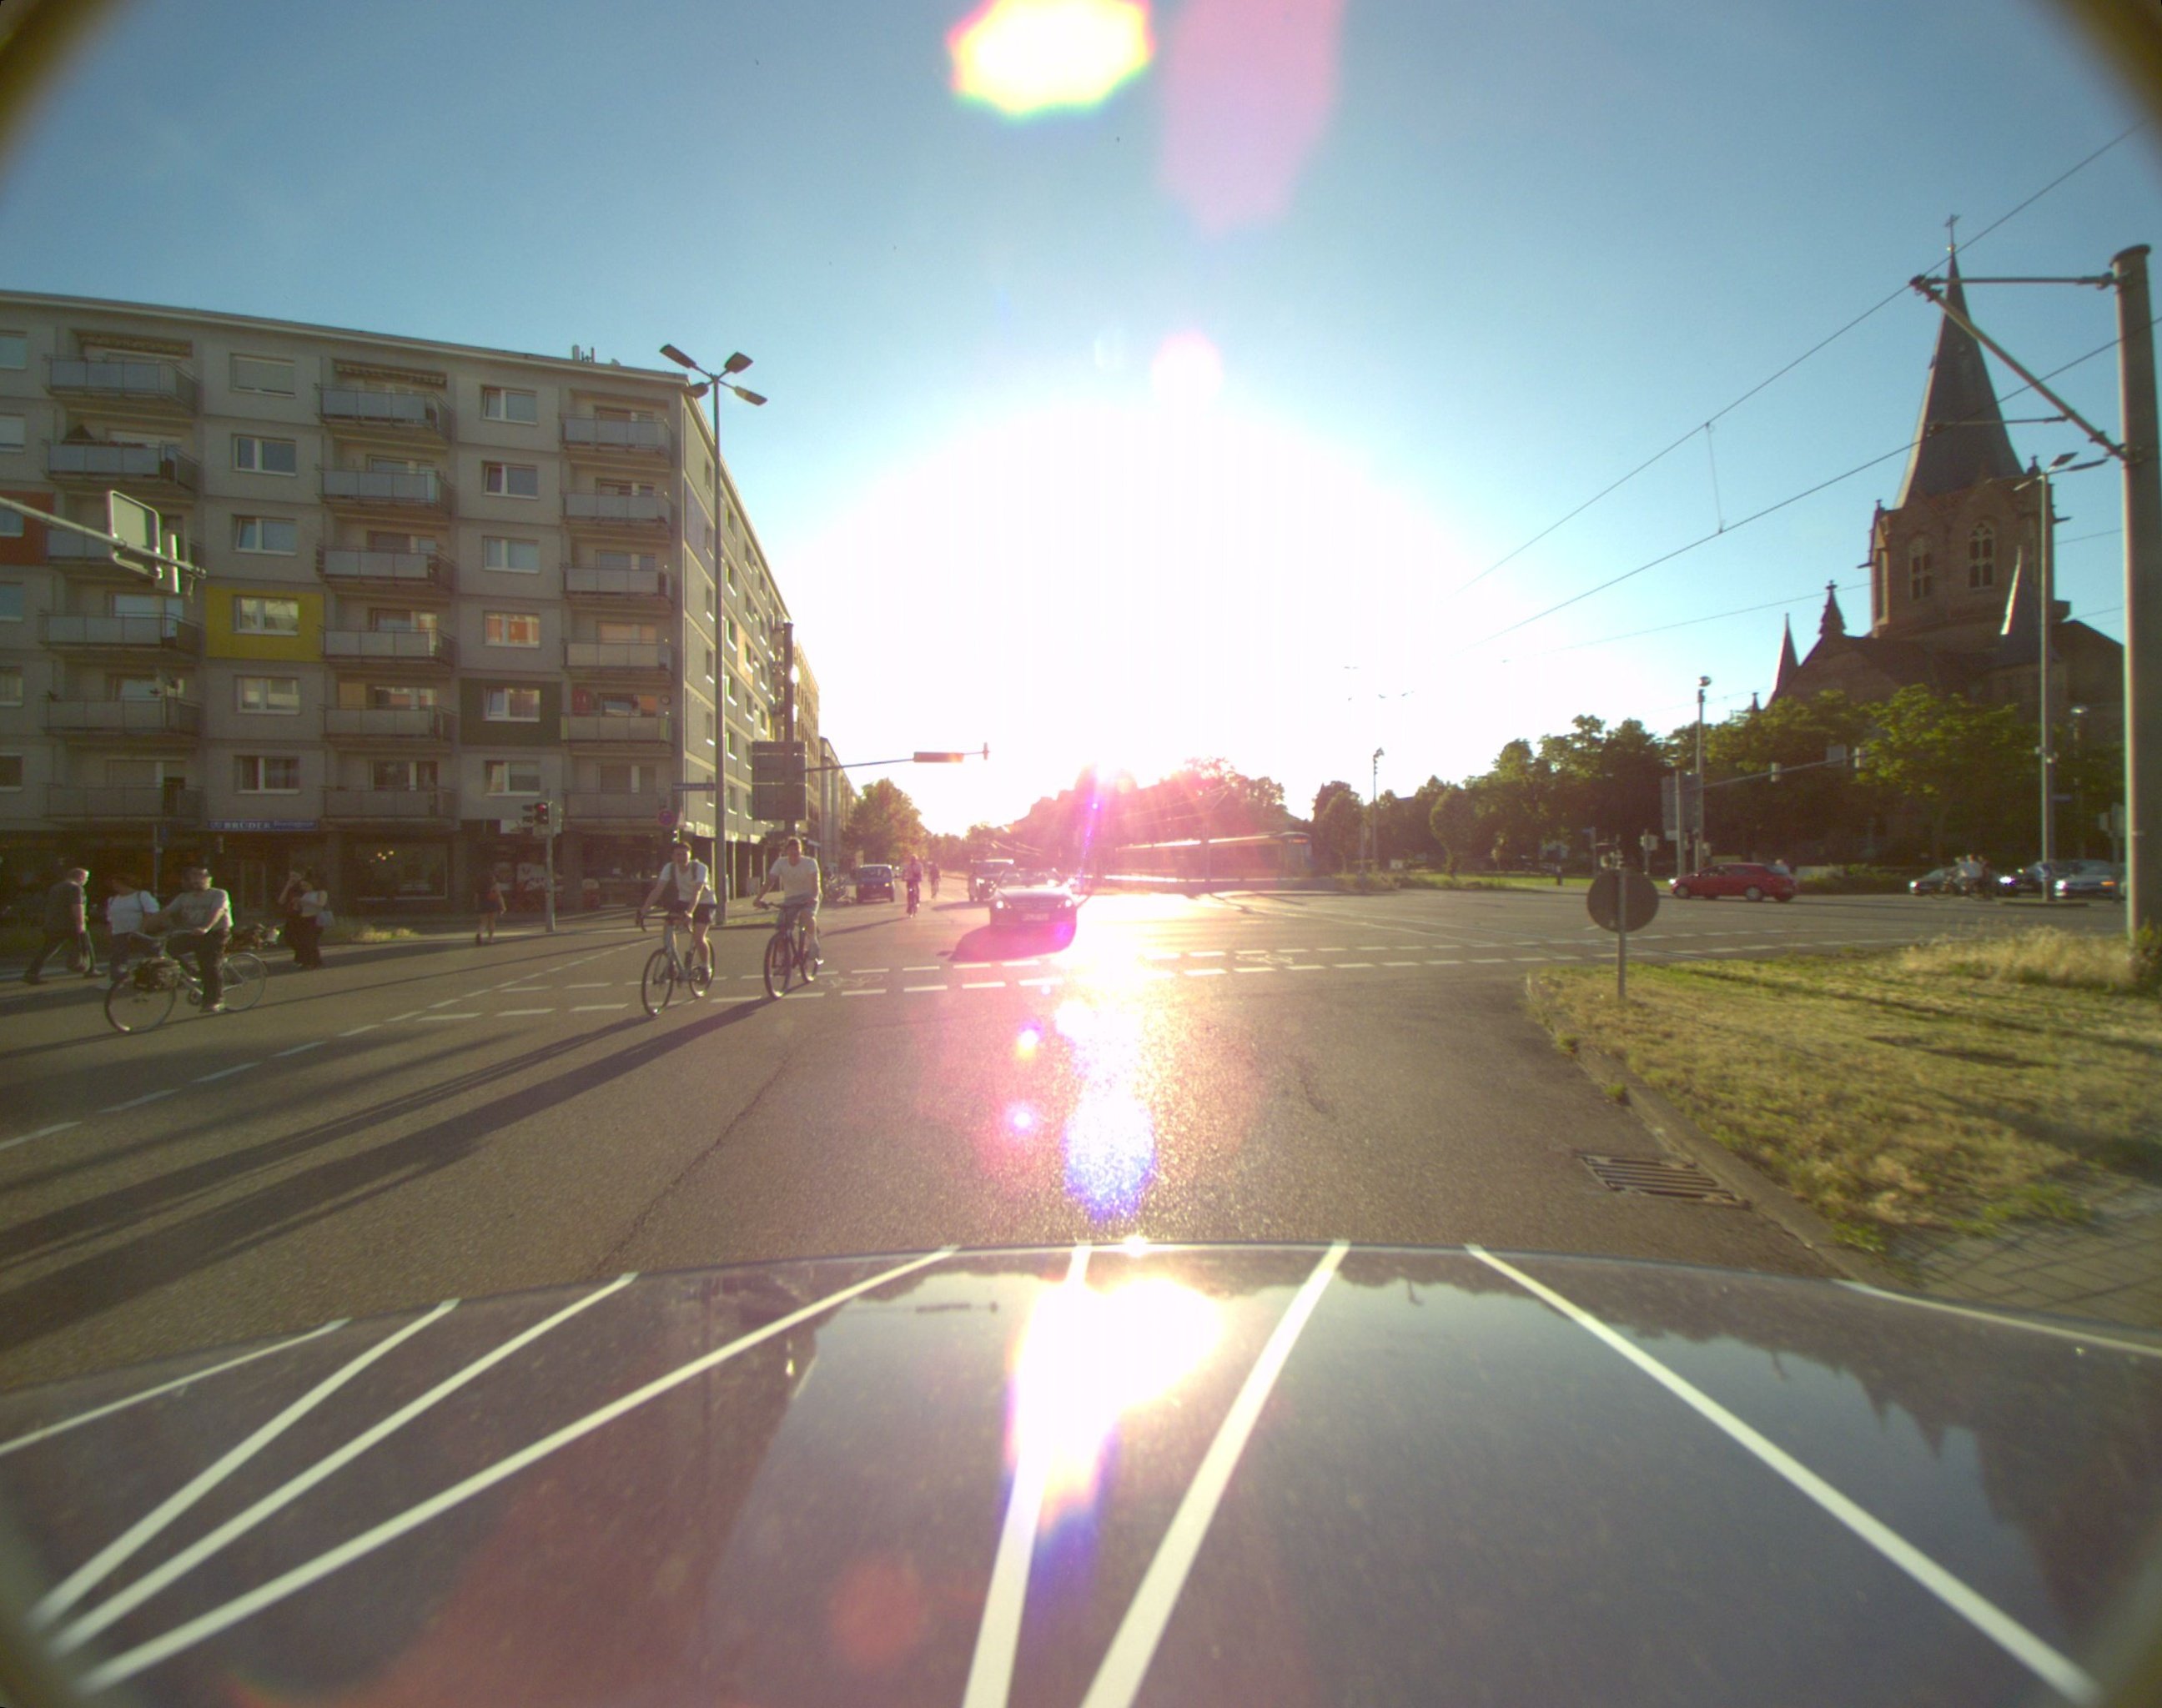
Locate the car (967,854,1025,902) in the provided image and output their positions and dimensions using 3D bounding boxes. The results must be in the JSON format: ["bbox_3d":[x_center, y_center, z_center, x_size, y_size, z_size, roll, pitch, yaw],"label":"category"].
[{"bbox_3d":[-3.965,1.034,34.723,1.922,1.978,4.941,-1,0,-14],"label":"car"}]

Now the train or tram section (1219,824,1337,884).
[{"bbox_3d":[12.641,0.057,50.224,2.783,3.515,10.558,-1,0,-14],"label":"train or tram section"}]

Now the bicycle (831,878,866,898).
[{"bbox_3d":[-13.467,1.991,44.018,1.875,1.119,0.567,2,-1,-17],"label":"bicycle"}]

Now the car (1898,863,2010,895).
[{"bbox_3d":[42.057,1.183,36.629,4.002,1.411,1.900,-1,0,-13],"label":"car"}]

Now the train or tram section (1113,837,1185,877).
[{"bbox_3d":[6.388,0.318,74.617,2.783,3.515,13.236,-1,0,-14],"label":"train or tram section"}]

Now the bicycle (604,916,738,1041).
[{"bbox_3d":[-4.327,1.261,8.173,0.577,1.022,1.856,-2,0,-6],"label":"bicycle"}]

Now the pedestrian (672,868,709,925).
[{"bbox_3d":[-11.820,1.267,23.051,0.664,1.694,1.071,-1,0,-9],"label":"pedestrian"}]

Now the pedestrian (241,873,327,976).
[{"bbox_3d":[-13.420,1.163,12.822,0.684,1.652,0.746,-1,0,-12],"label":"pedestrian"}]

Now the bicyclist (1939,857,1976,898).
[{"bbox_3d":[34.320,0.905,29.760,0.522,1.574,0.819,-2,0,-27],"label":"bicyclist"}]

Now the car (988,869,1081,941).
[{"bbox_3d":[-1.139,1.028,16.885,1.777,1.300,4.238,-1,0,-7],"label":"car"}]

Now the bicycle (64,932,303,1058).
[{"bbox_3d":[-9.571,1.450,8.233,0.522,0.975,1.848,-1,1,-7],"label":"bicycle"}]

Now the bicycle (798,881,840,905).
[{"bbox_3d":[-12.828,1.895,37.235,1.875,1.119,0.606,2,-1,-17],"label":"bicycle"}]

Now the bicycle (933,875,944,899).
[{"bbox_3d":[-7.296,1.679,38.930,0.530,1.152,1.847,-2,0,-11],"label":"bicycle"}]

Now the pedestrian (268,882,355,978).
[{"bbox_3d":[-12.569,1.223,12.441,0.684,1.491,0.746,-1,0,-12],"label":"pedestrian"}]

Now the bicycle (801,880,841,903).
[{"bbox_3d":[-13.162,1.889,38.553,1.875,1.119,0.567,2,-1,-17],"label":"bicycle"}]

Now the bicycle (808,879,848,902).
[{"bbox_3d":[-13.097,1.891,39.372,1.875,1.119,0.567,2,-1,-17],"label":"bicycle"}]

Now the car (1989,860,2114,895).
[{"bbox_3d":[42.761,1.015,33.523,4.002,1.411,1.900,-1,0,-13],"label":"car"}]

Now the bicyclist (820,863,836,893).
[{"bbox_3d":[-15.337,1.434,46.101,0.744,1.797,1.384,-1,0,-11],"label":"bicyclist"}]

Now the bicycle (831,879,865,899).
[{"bbox_3d":[-13.647,2.027,44.573,1.875,1.119,0.567,2,-1,-17],"label":"bicycle"}]

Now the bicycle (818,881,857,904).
[{"bbox_3d":[-12.853,2.033,40.149,1.875,1.119,0.567,2,-1,-17],"label":"bicycle"}]

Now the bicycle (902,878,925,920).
[{"bbox_3d":[-4.986,1.311,22.673,0.530,1.152,1.847,-2,0,-10],"label":"bicycle"}]

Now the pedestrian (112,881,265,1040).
[{"bbox_3d":[-9.585,1.110,8.198,0.677,1.580,0.761,-1,2,-7],"label":"pedestrian"}]

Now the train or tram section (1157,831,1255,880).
[{"bbox_3d":[9.786,0.152,61.784,2.783,3.515,13.236,-1,0,-14],"label":"train or tram section"}]

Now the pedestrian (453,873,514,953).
[{"bbox_3d":[-12.331,1.200,15.695,0.684,1.580,0.746,-1,0,-9],"label":"pedestrian"}]

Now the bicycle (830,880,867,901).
[{"bbox_3d":[-12.805,2.001,41.892,1.875,1.119,0.567,2,-1,-17],"label":"bicycle"}]

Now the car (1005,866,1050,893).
[{"bbox_3d":[-3.178,1.458,44.605,1.844,1.392,4.579,-3,0,-13],"label":"car"}]

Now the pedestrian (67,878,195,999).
[{"bbox_3d":[-13.763,1.184,11.042,0.730,1.652,0.905,-1,0,-12],"label":"pedestrian"}]

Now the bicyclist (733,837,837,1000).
[{"bbox_3d":[-3.462,0.720,8.981,0.829,1.797,1.057,-1,0,-4],"label":"bicyclist"}]

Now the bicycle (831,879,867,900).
[{"bbox_3d":[-12.956,1.989,42.446,1.875,1.119,0.567,2,-1,-17],"label":"bicycle"}]

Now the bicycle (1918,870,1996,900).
[{"bbox_3d":[34.314,1.204,29.796,0.460,1.139,1.915,-2,0,-26],"label":"bicycle"}]

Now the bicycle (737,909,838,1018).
[{"bbox_3d":[-3.451,1.242,9.109,0.479,1.022,1.981,-2,0,-2],"label":"bicycle"}]

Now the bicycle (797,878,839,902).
[{"bbox_3d":[-12.652,1.724,36.647,1.875,1.055,0.606,-1,0,-16],"label":"bicycle"}]

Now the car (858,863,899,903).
[{"bbox_3d":[-10.523,1.444,39.776,1.944,1.922,4.826,-1,0,-14],"label":"car"}]

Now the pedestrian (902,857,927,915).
[{"bbox_3d":[-4.922,0.934,22.471,0.640,1.639,0.842,-2,0,-10],"label":"pedestrian"}]

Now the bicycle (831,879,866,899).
[{"bbox_3d":[-13.296,1.995,43.471,1.875,1.119,0.567,2,-1,-17],"label":"bicycle"}]

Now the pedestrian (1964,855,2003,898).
[{"bbox_3d":[36.131,0.890,30.416,0.738,1.663,0.717,-1,0,-11],"label":"pedestrian"}]

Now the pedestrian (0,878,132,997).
[{"bbox_3d":[-15.456,1.220,11.551,0.786,1.691,1.026,-1,0,-12],"label":"pedestrian"}]

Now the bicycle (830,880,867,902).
[{"bbox_3d":[-12.642,2.020,41.343,1.875,1.119,0.567,2,-1,-17],"label":"bicycle"}]

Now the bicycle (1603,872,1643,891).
[{"bbox_3d":[30.952,1.566,43.408,0.525,1.020,1.928,-2,0,-14],"label":"bicycle"}]

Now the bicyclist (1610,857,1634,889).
[{"bbox_3d":[30.928,1.092,43.442,0.575,1.816,0.894,-2,0,-14],"label":"bicyclist"}]

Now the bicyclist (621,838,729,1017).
[{"bbox_3d":[-4.341,0.748,8.198,0.676,1.797,0.993,-1,0,-6],"label":"bicyclist"}]

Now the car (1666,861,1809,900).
[{"bbox_3d":[25.374,0.987,29.543,1.731,1.406,3.881,-1,-1,-18],"label":"car"}]

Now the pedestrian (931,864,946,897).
[{"bbox_3d":[-7.312,1.354,39.019,0.679,1.639,0.901,-2,0,-11],"label":"pedestrian"}]

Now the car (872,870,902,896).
[{"bbox_3d":[-12.221,1.817,47.891,1.689,1.471,3.535,-3,0,-13],"label":"car"}]

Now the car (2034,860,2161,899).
[{"bbox_3d":[40.571,0.972,30.065,4.000,1.411,1.901,-1,0,-10],"label":"car"}]

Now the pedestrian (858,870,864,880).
[{"bbox_3d":[-30.401,2.886,105.216,0.729,1.431,0.923,-1,0,-15],"label":"pedestrian"}]

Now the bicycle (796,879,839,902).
[{"bbox_3d":[-12.499,1.717,36.056,1.875,1.055,0.606,-1,0,-16],"label":"bicycle"}]

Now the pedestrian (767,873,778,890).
[{"bbox_3d":[-21.520,1.930,53.033,0.607,1.145,0.727,-1,0,-14],"label":"pedestrian"}]

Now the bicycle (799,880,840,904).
[{"bbox_3d":[-12.982,1.880,37.801,1.875,1.119,0.567,2,-1,-17],"label":"bicycle"}]

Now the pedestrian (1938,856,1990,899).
[{"bbox_3d":[35.289,0.921,30.384,0.738,1.663,1.104,-1,0,-11],"label":"pedestrian"}]

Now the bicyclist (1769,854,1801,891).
[{"bbox_3d":[32.229,0.839,34.797,0.575,1.671,0.894,-2,0,-14],"label":"bicyclist"}]
